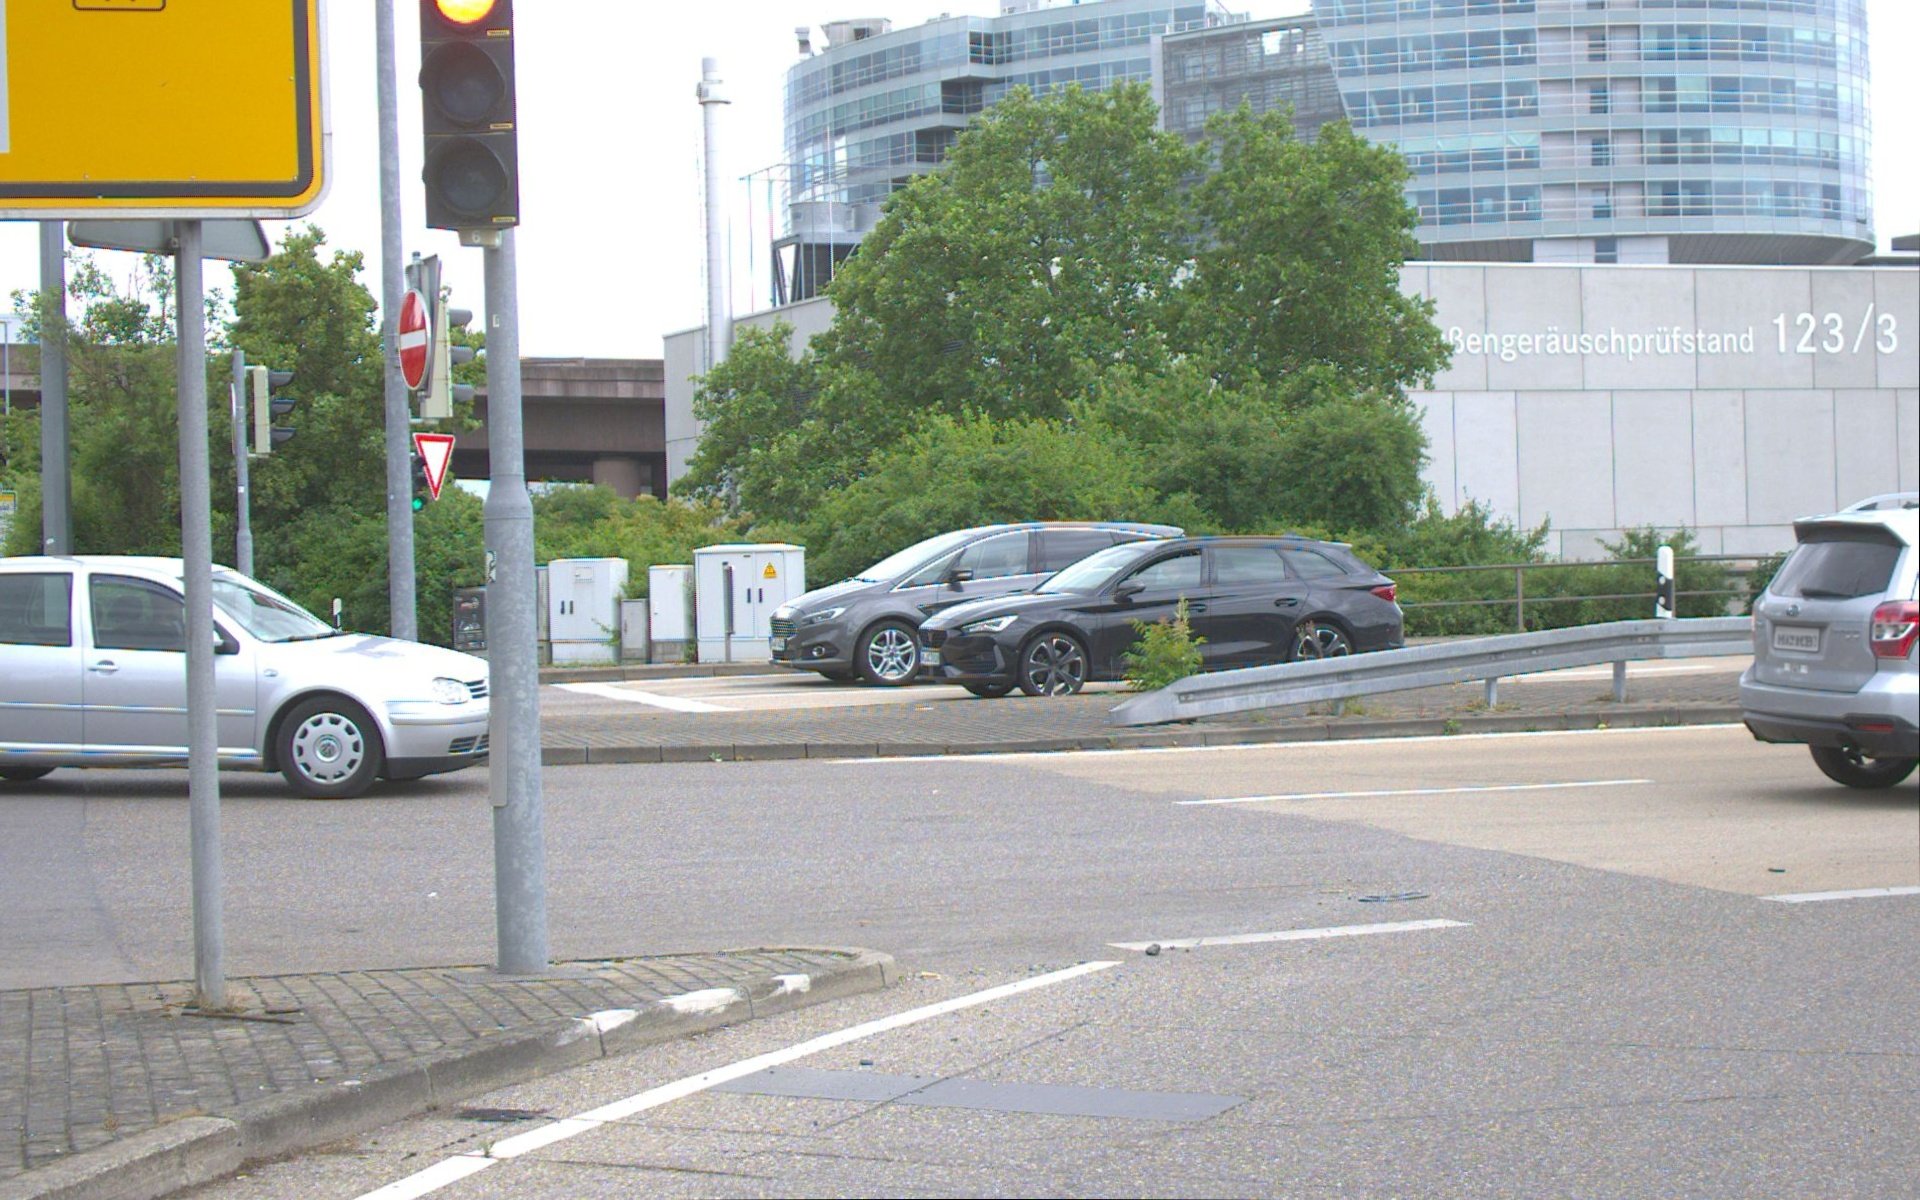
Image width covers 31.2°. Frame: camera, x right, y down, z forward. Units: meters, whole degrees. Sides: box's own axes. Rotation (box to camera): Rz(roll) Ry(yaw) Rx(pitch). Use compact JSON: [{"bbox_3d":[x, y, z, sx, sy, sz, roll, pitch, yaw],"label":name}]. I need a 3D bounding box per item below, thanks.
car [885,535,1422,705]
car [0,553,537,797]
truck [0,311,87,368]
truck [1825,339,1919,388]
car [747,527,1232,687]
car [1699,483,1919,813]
[{"bbox_3d":[1.802,0.145,32.101,4.604,1.452,1.956,-1,2,-22],"label":"car"},{"bbox_3d":[-4.800,0.437,21.096,4.054,1.396,1.729,0,1,8],"label":"car"},{"bbox_3d":[-40.581,-11.258,148.651,5.061,2.314,2.000,1,1,5],"label":"truck"},{"bbox_3d":[47.027,-12.160,176.628,4.588,2.164,2.000,3,1,2],"label":"truck"},{"bbox_3d":[0.289,0.035,35.881,4.677,1.566,1.956,0,2,-19],"label":"car"},{"bbox_3d":[6.663,0.198,19.463,4.539,1.731,1.730,-1,1,-14],"label":"car"}]
